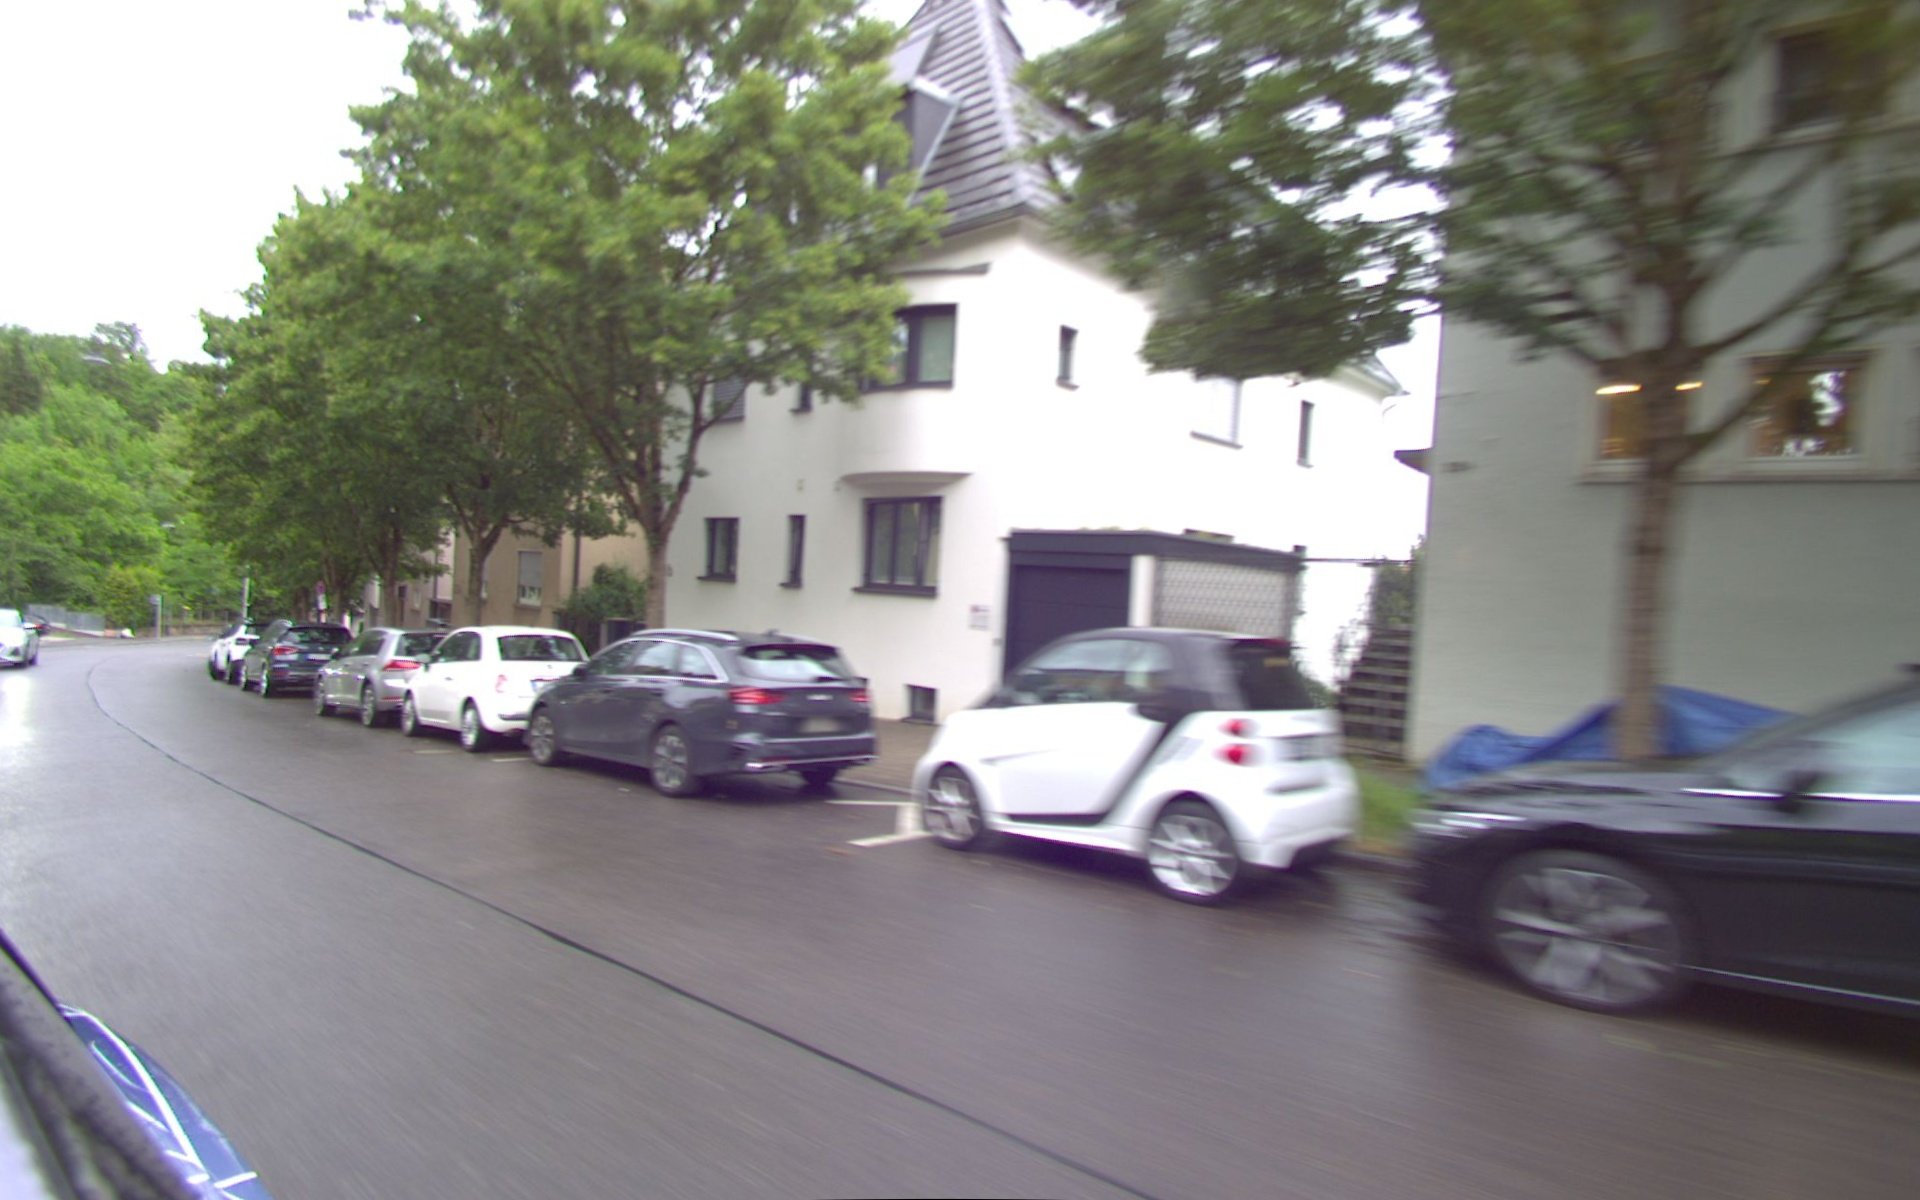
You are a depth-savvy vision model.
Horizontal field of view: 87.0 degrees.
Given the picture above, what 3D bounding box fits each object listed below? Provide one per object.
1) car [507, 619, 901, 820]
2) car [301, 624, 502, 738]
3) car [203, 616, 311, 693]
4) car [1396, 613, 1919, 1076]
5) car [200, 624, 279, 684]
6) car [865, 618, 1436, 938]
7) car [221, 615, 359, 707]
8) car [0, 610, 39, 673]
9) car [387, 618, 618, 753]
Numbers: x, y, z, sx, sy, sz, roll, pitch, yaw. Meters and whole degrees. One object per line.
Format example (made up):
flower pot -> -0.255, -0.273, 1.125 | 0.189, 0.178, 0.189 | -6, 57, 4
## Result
car -> -2.721, 1.023, 10.020 | 4.478, 1.500, 1.645 | 0, -5, 45
car -> -8.772, 1.206, 15.741 | 3.974, 1.481, 1.599 | 0, -5, 45
car -> -17.649, 1.333, 25.336 | 1.573, 1.671, 3.928 | 9, -7, -42
car -> 3.978, 0.884, 3.689 | 4.097, 1.500, 1.539 | 0, -5, 42
car -> -20.778, 1.529, 29.147 | 1.597, 1.482, 3.676 | 9, -6, -36
car -> 1.109, 0.960, 6.718 | 3.384, 1.522, 1.538 | 0, -5, 43
car -> -14.046, 1.234, 21.128 | 1.599, 1.671, 3.927 | 8, -6, -43
car -> -27.090, 1.103, 28.034 | 1.982, 1.674, 4.453 | 4, -4, -39
car -> -5.998, 1.059, 13.098 | 1.556, 1.500, 3.472 | 7, -6, -44
